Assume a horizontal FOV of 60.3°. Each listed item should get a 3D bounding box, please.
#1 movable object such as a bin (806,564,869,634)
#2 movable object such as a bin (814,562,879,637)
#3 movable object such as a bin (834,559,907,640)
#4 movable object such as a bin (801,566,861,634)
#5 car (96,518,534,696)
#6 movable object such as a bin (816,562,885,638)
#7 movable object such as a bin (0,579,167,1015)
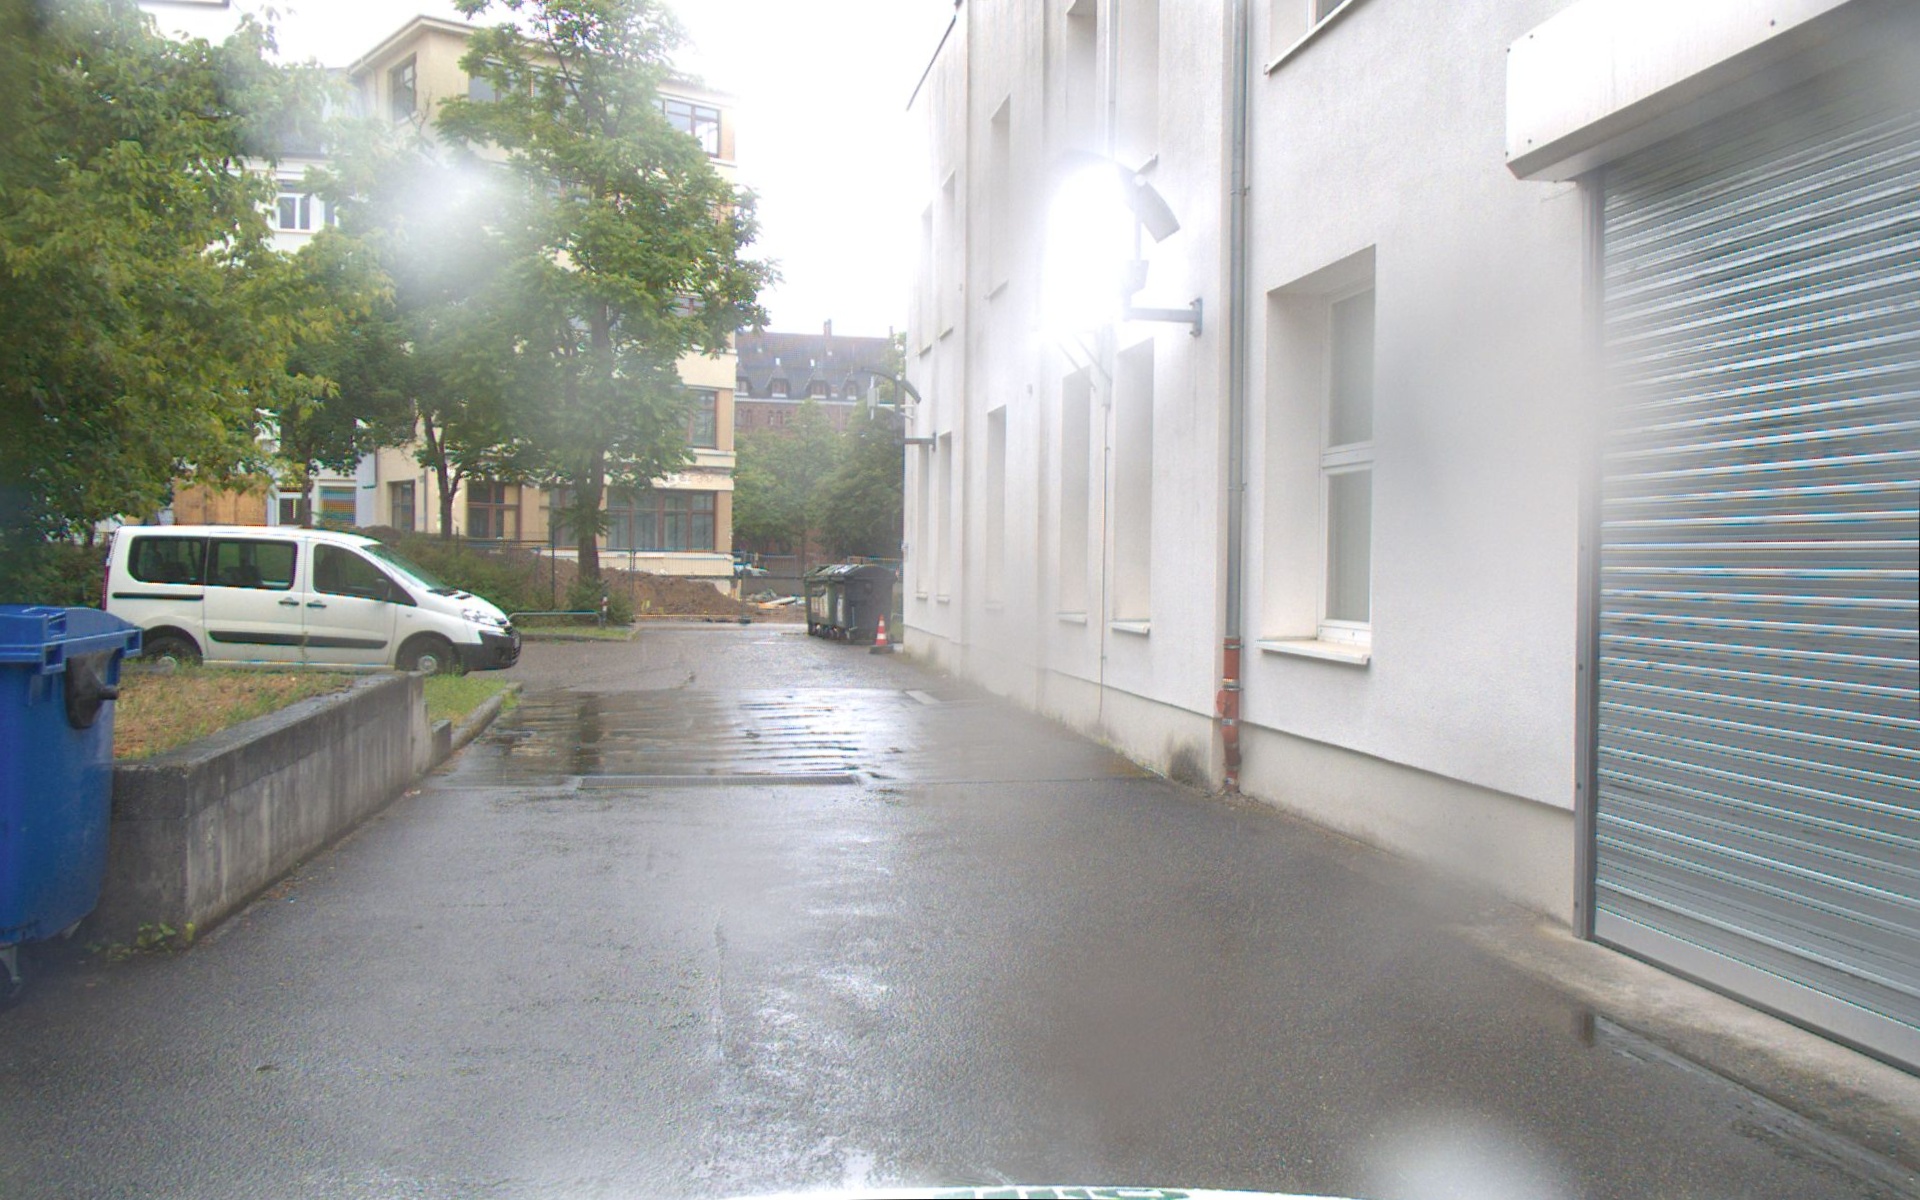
[{"bbox_3d":[-2.648,-0.010,35.632,1.193,1.462,1.255,1,-1,-12],"label":"movable object such as a bin"},{"bbox_3d":[-2.360,0.004,34.289,1.193,1.494,1.232,1,-1,-12],"label":"movable object such as a bin"},{"bbox_3d":[-1.695,0.006,31.039,1.193,1.462,1.232,1,-1,-12],"label":"movable object such as a bin"},{"bbox_3d":[-2.899,0.012,36.985,1.193,1.462,1.255,1,-1,-12],"label":"movable object such as a bin"},{"bbox_3d":[-7.800,0.041,20.479,4.692,2.048,1.996,0,2,-9],"label":"car"},{"bbox_3d":[-2.175,0.018,32.666,1.193,1.462,1.290,1,-1,-12],"label":"movable object such as a bin"},{"bbox_3d":[-3.524,0.618,5.670,1.199,1.360,1.004,1,1,-9],"label":"movable object such as a bin"}]
